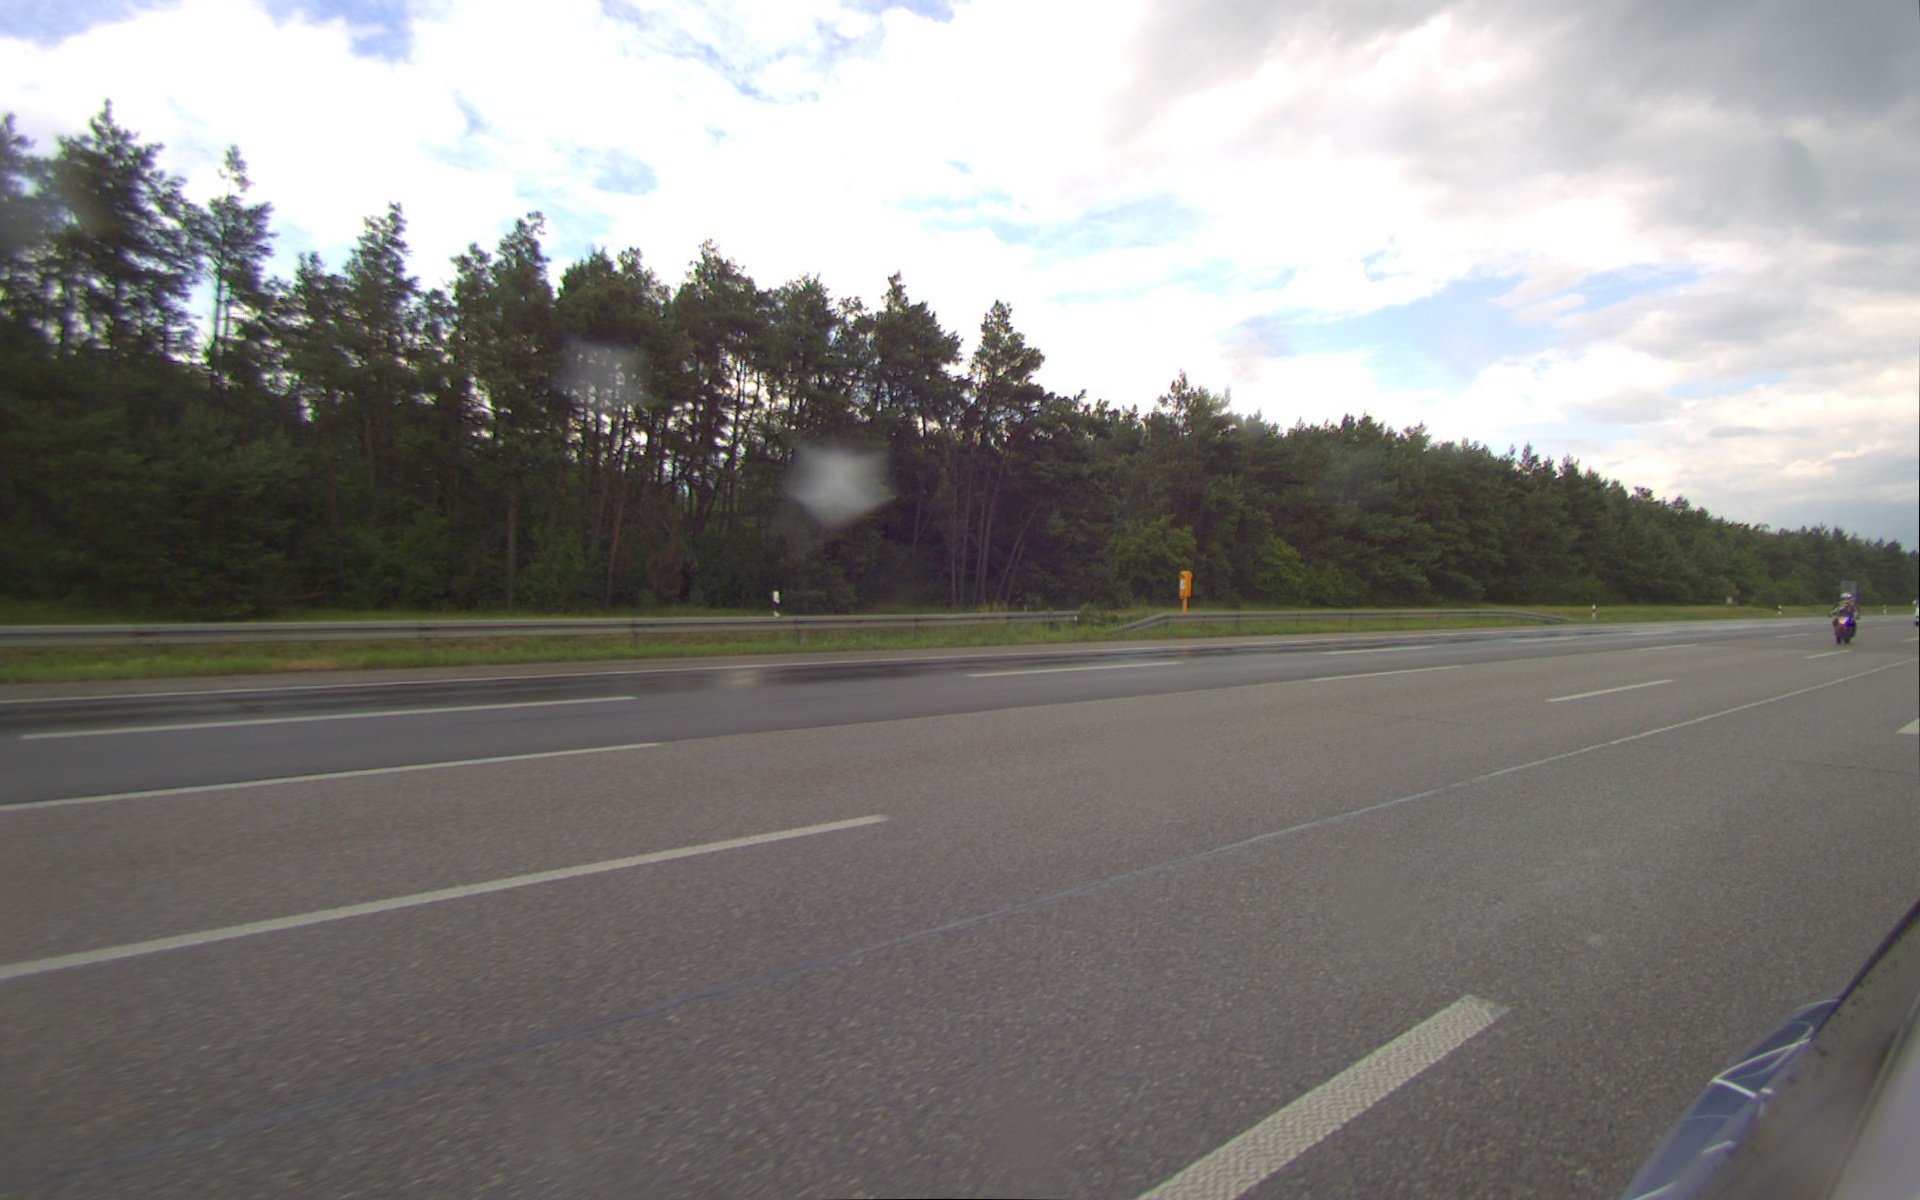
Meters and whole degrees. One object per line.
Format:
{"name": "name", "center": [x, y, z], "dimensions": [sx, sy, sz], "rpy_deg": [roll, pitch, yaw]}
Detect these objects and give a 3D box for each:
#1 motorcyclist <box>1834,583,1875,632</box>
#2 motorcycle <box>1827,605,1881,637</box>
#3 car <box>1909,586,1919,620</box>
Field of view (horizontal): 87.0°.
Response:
{"name": "motorcyclist", "center": [30.929, 0.252, 34.979], "dimensions": [0.941, 1.635, 0.894], "rpy_deg": [0, 0, -37]}
{"name": "motorcycle", "center": [30.870, 0.712, 34.922], "dimensions": [2.134, 1.044, 1.002], "rpy_deg": [0, 1, -38]}
{"name": "car", "center": [60.345, 0.225, 62.131], "dimensions": [5.378, 2.039, 2.000], "rpy_deg": [1, 0, -35]}
